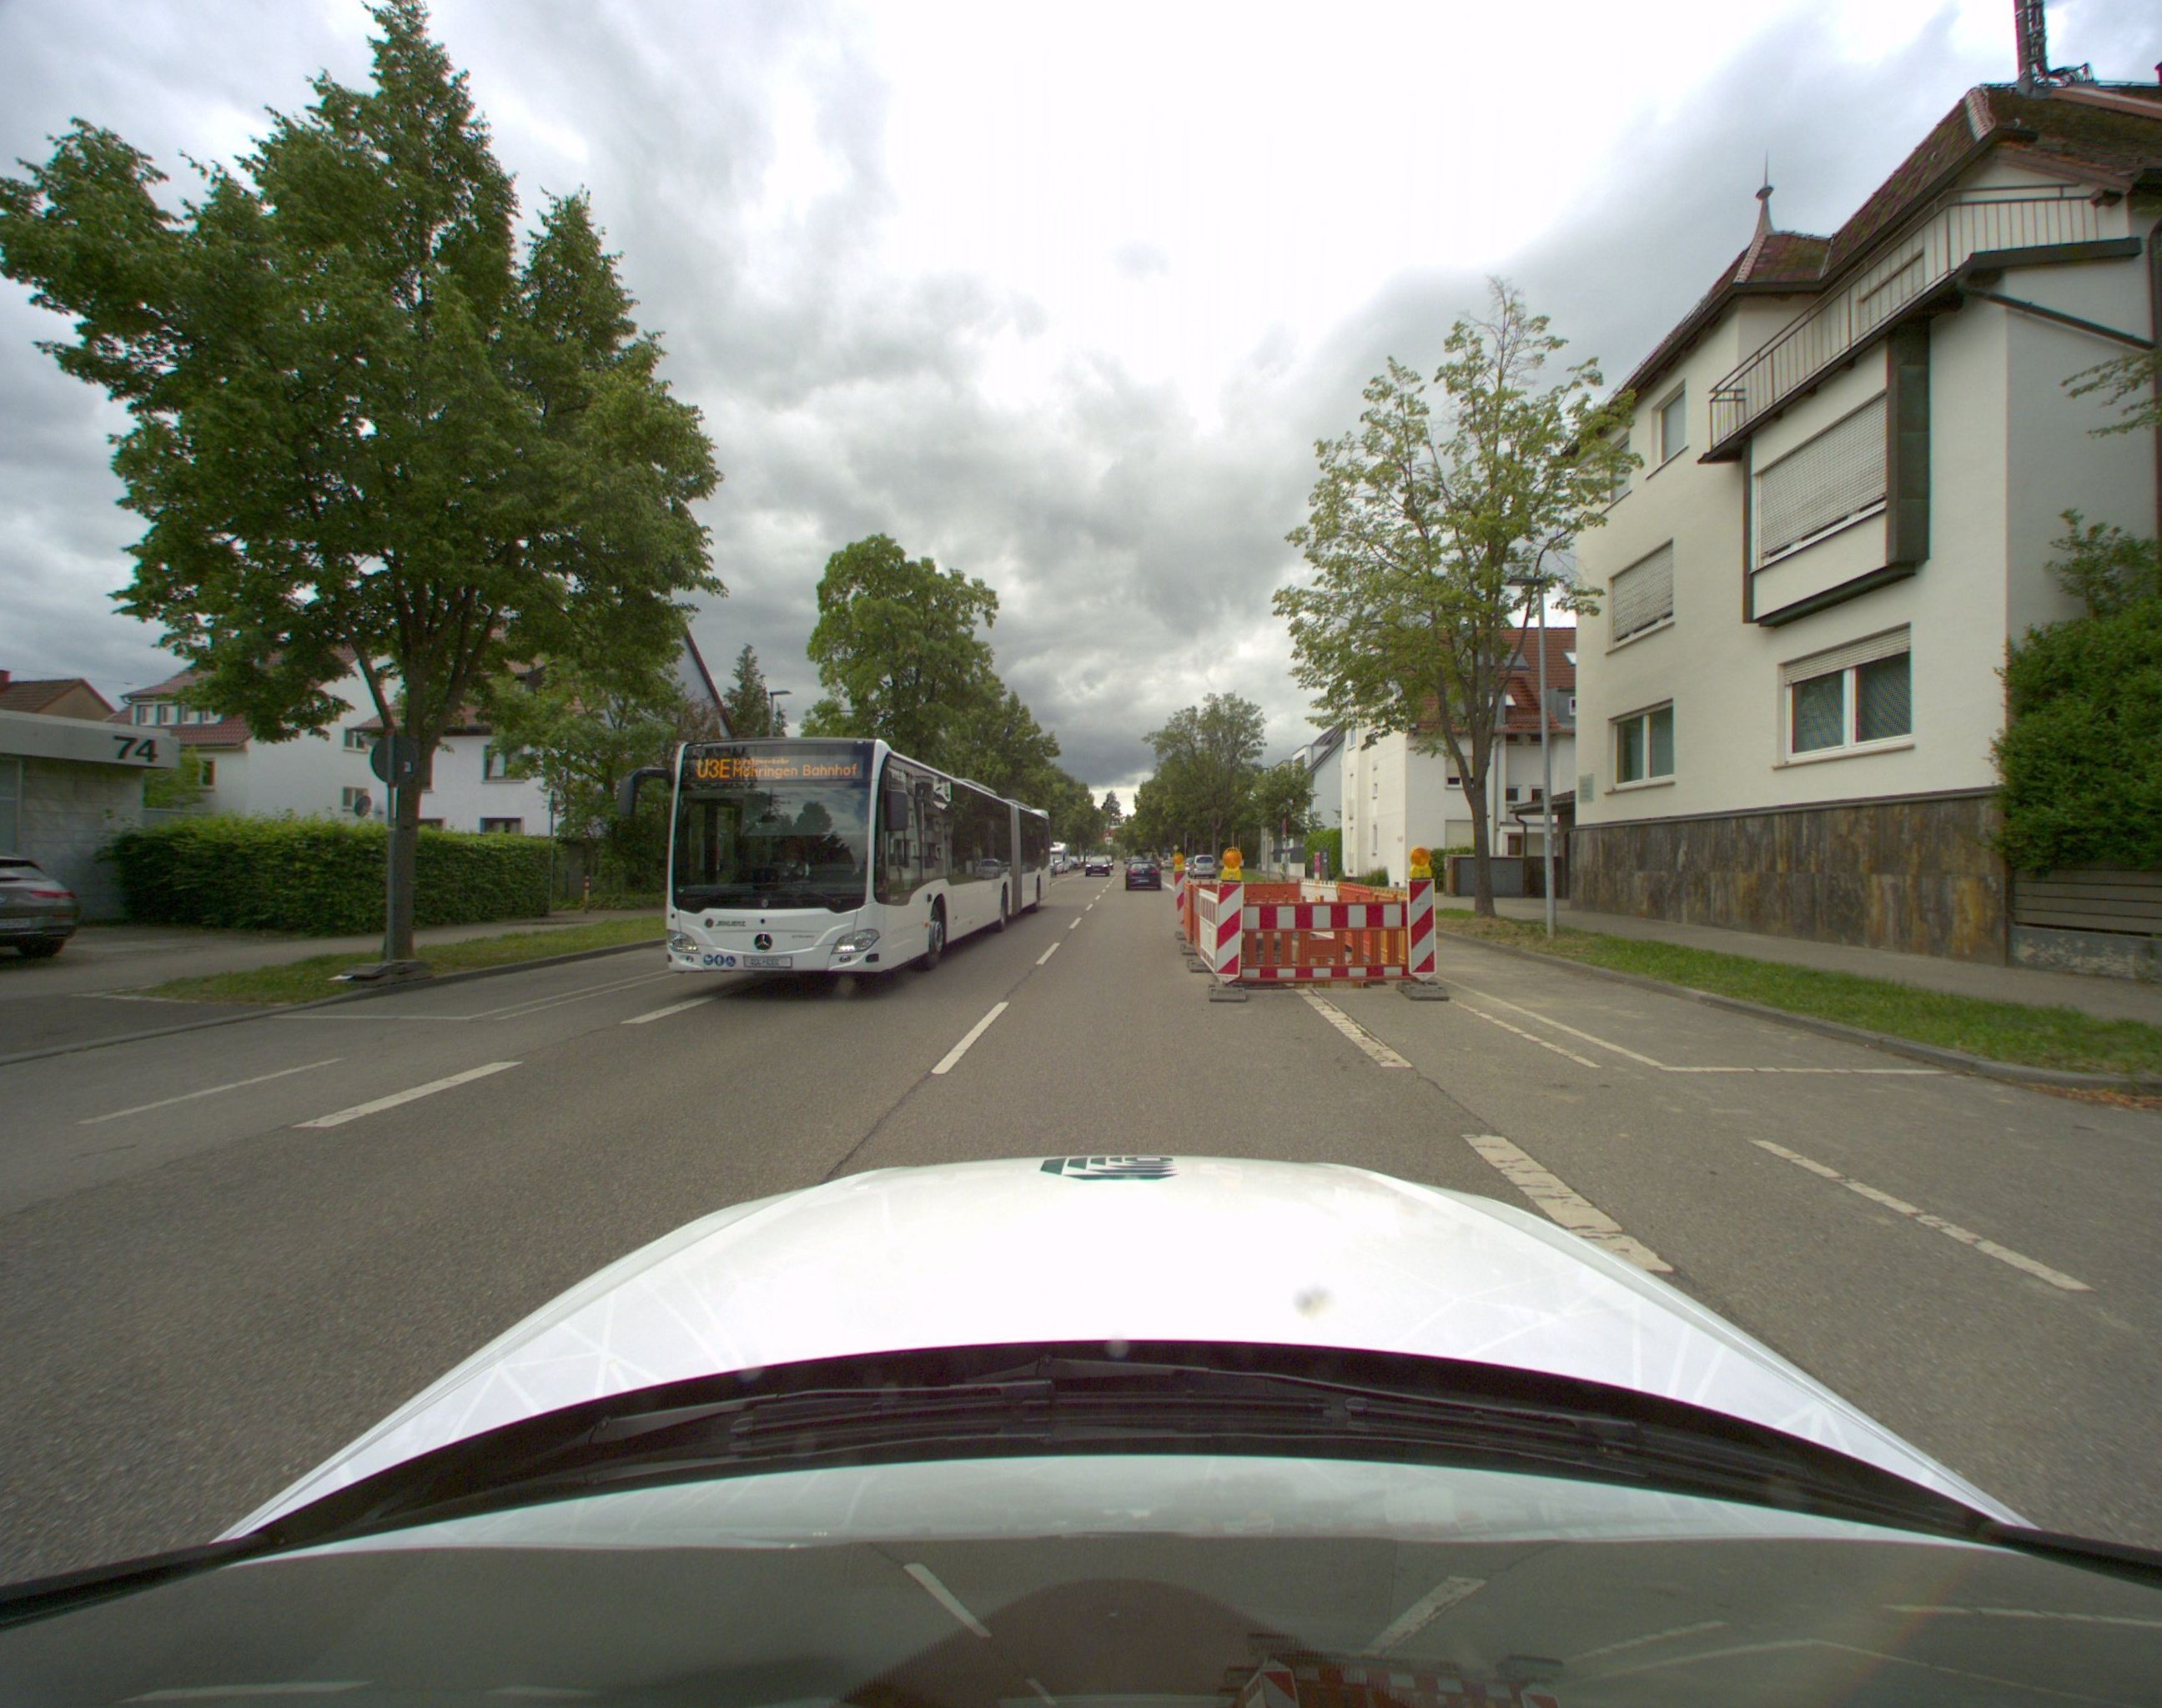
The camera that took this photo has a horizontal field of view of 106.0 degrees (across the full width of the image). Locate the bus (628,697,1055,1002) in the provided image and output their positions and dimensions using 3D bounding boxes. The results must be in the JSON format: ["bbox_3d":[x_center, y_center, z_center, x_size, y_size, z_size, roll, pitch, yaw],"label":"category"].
[{"bbox_3d":[-2.912,0.075,17.874,2.792,3.288,18.063,0,-1,4],"label":"bus"}]

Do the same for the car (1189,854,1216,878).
[{"bbox_3d":[8.769,0.875,58.975,1.625,1.665,3.651,-1,0,4],"label":"car"}]

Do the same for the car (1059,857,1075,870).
[{"bbox_3d":[-1.627,1.132,95.298,1.549,1.470,4.454,0,0,2],"label":"car"}]

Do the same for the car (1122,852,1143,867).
[{"bbox_3d":[5.519,0.607,88.319,1.988,1.558,3.998,0,-2,-1],"label":"car"}]

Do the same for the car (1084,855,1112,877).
[{"bbox_3d":[1.419,0.981,68.100,1.984,1.668,4.595,-2,0,5],"label":"car"}]

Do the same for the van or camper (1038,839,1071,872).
[{"bbox_3d":[-2.524,0.178,79.302,2.424,3.009,7.700,-1,0,4],"label":"van or camper"}]

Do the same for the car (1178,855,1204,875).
[{"bbox_3d":[8.736,0.869,64.860,1.680,1.493,4.230,-1,0,3],"label":"car"}]

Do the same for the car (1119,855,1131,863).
[{"bbox_3d":[8.480,0.953,157.214,1.988,1.508,3.997,0,-1,-2],"label":"car"}]

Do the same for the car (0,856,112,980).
[{"bbox_3d":[-14.915,0.754,10.216,4.052,1.433,1.806,1,0,12],"label":"car"}]

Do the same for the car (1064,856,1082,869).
[{"bbox_3d":[-0.968,1.053,105.103,1.808,1.652,4.706,0,0,5],"label":"car"}]

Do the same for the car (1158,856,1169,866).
[{"bbox_3d":[12.403,1.077,122.834,1.630,1.420,4.005,-1,0,5],"label":"car"}]

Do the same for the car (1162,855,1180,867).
[{"bbox_3d":[11.330,0.909,102.543,2.012,1.443,5.030,0,0,4],"label":"car"}]

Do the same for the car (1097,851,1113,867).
[{"bbox_3d":[2.945,0.619,99.302,1.753,1.803,4.773,-1,0,3],"label":"car"}]

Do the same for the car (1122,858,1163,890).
[{"bbox_3d":[2.955,0.947,39.583,1.777,1.449,3.558,0,0,1],"label":"car"}]

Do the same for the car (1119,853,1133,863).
[{"bbox_3d":[6.804,0.651,123.953,1.986,1.530,4.001,-1,0,2],"label":"car"}]

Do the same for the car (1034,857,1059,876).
[{"bbox_3d":[-2.976,1.031,70.648,1.715,1.600,4.277,0,0,4],"label":"car"}]

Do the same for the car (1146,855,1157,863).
[{"bbox_3d":[13.567,0.926,157.859,1.678,1.432,4.041,0,0,-2],"label":"car"}]
